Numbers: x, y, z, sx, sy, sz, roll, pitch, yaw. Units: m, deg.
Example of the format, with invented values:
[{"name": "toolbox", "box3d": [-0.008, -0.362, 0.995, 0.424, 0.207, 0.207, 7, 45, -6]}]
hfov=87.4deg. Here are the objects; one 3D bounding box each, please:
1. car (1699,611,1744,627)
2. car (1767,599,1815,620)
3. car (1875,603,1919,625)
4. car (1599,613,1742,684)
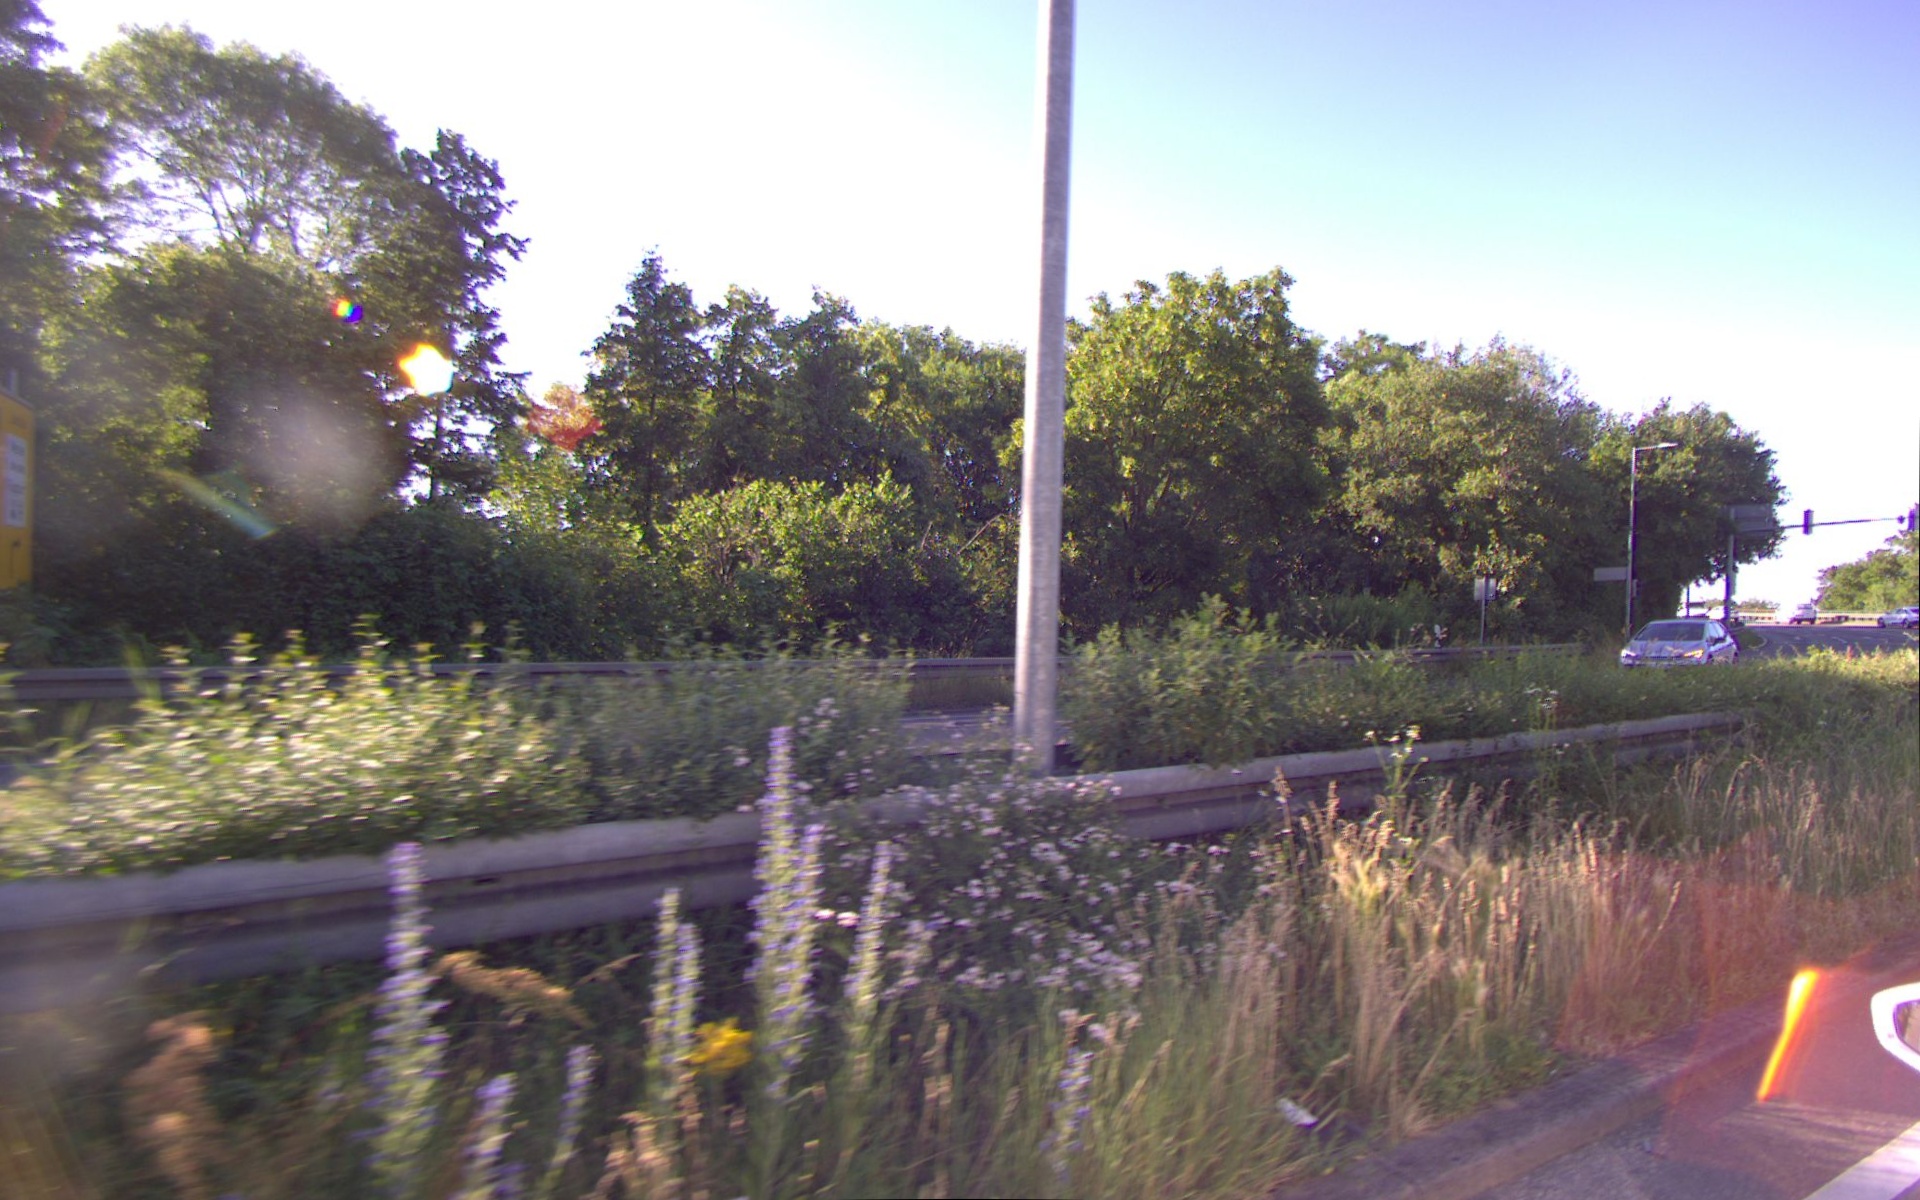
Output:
[{"name": "car", "box3d": [77.701, 1.902, 102.540, 2.227, 1.528, 4.002, 1, 0, 14]}, {"name": "car", "box3d": [70.939, 0.776, 85.816, 1.936, 1.721, 3.999, 0, 0, 20]}, {"name": "car", "box3d": [66.829, 0.983, 70.759, 1.936, 1.494, 4.155, 0, 0, 17]}, {"name": "car", "box3d": [17.040, 1.094, 24.028, 4.183, 1.540, 1.869, 1, -1, -41]}]
